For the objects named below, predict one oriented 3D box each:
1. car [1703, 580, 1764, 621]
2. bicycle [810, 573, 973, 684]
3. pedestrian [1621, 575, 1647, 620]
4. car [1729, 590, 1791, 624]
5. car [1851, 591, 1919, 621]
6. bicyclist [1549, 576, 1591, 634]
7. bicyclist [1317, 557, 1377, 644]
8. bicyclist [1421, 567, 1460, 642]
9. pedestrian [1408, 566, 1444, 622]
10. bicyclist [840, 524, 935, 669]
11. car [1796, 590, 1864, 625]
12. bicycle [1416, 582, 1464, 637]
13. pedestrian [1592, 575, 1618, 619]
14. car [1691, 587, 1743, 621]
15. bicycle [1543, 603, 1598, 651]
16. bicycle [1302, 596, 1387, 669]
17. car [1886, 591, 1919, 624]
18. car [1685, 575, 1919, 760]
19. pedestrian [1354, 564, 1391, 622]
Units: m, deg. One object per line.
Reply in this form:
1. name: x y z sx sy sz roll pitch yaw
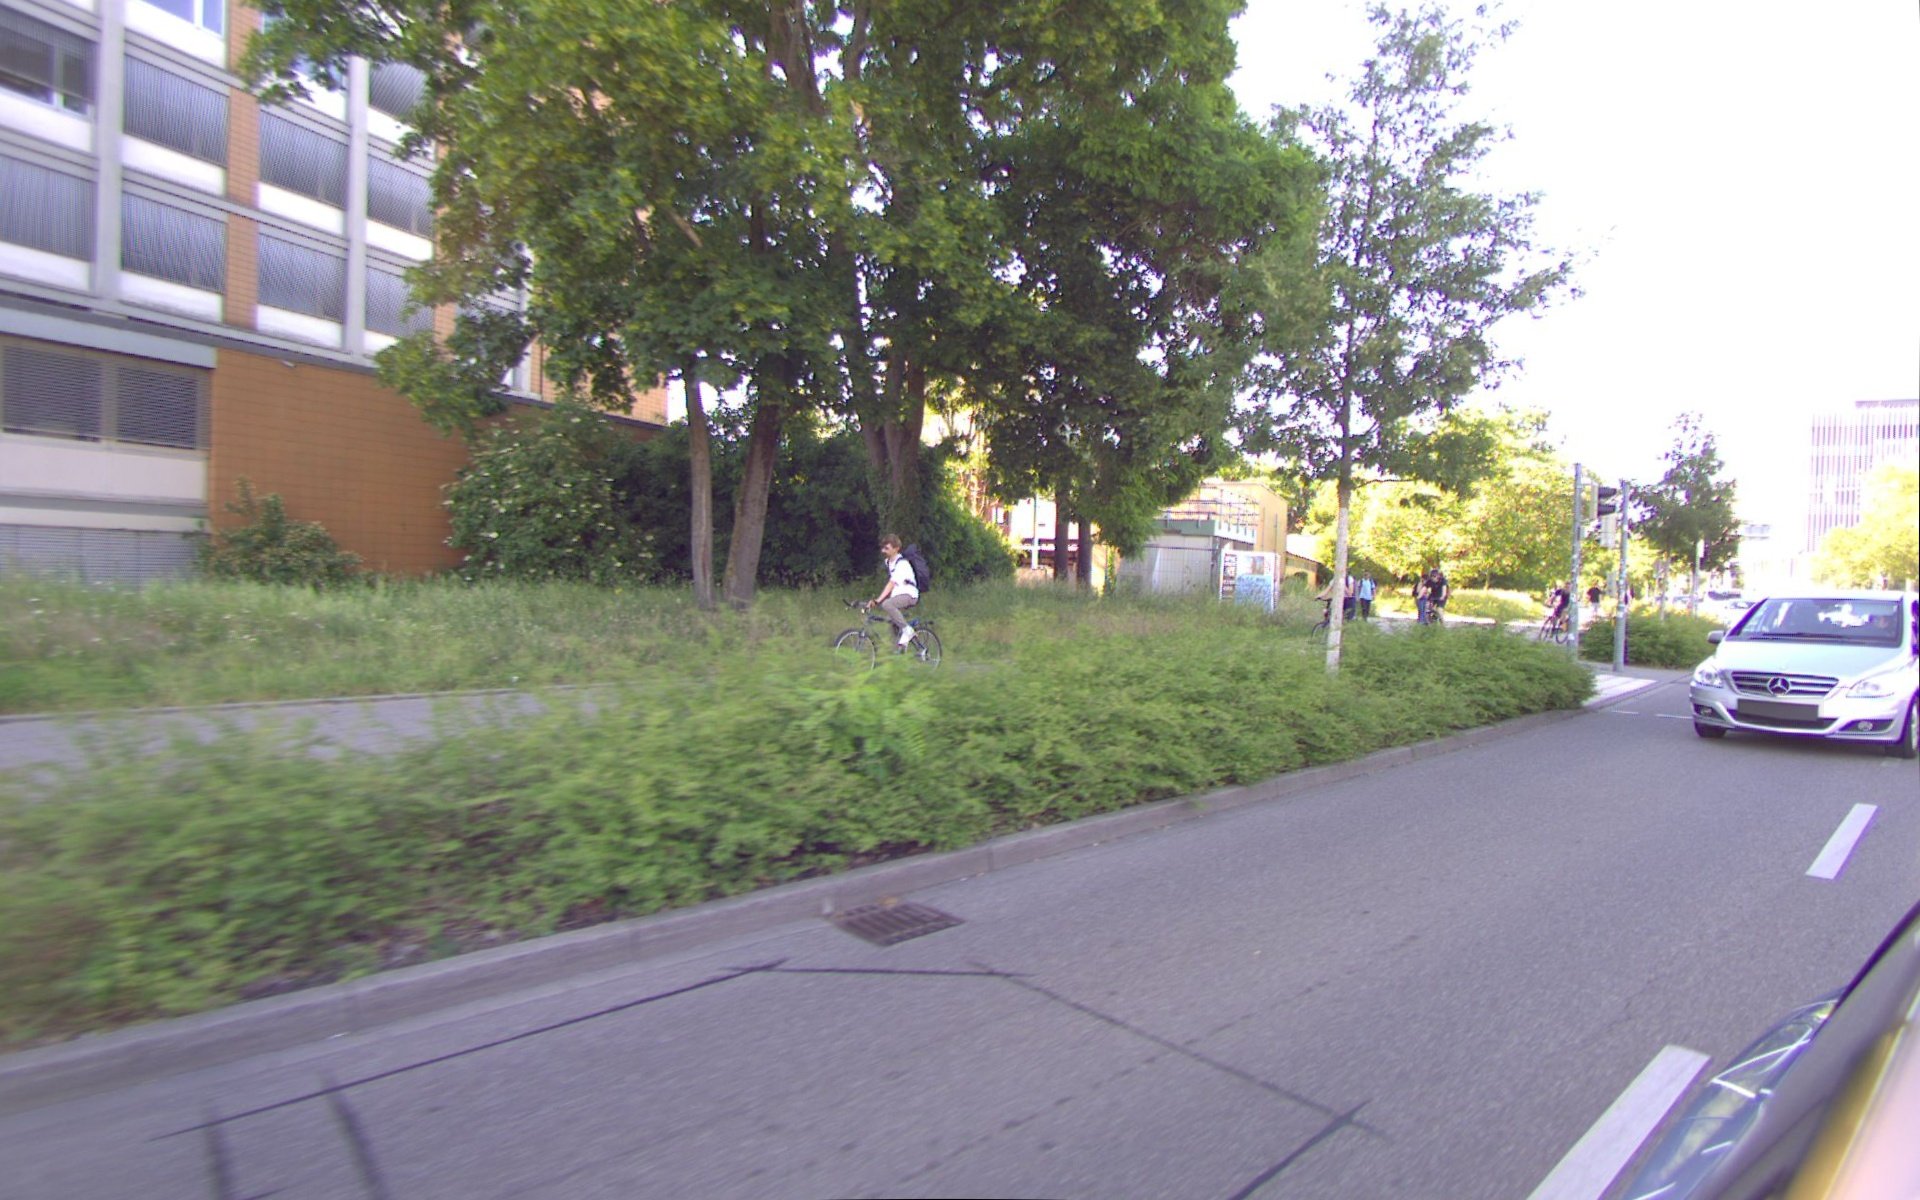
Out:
1. car: 39.554 0.000 51.860 1.924 1.977 4.704 1 0 31
2. bicycle: -0.778 0.304 11.977 1.925 1.179 0.642 0 4 -45
3. pedestrian: 27.914 -0.111 41.910 0.729 1.839 0.724 1 -1 45
4. car: 36.315 0.282 46.033 1.691 1.460 3.956 1 0 31
5. car: 51.590 0.310 56.502 1.968 1.574 4.671 1 0 31
6. bicyclist: 15.751 0.114 26.124 0.936 1.462 0.642 1 0 -40
7. bicyclist: 6.764 0.002 17.686 0.764 1.462 0.642 0 3 -45
8. bicyclist: 11.010 0.092 23.191 0.639 1.666 0.766 2 1 36
9. pedestrian: 14.079 -0.179 30.564 0.664 1.664 0.736 2 -1 -3
10. bicyclist: -0.849 -0.054 11.868 0.819 1.614 0.630 0 4 -45
11. car: 40.224 0.303 46.898 1.988 1.487 3.949 2 2 36
12. bicycle: 11.032 0.208 23.217 0.639 1.179 1.846 2 1 36
13. pedestrian: 27.145 -0.127 42.604 0.729 1.804 0.724 1 -1 45
14. car: 43.248 0.203 57.884 1.924 1.822 4.312 1 0 31
15. bicycle: 15.808 0.674 26.174 1.837 1.180 0.642 0 0 -40
16. bicycle: 6.739 0.534 17.701 1.840 1.179 0.642 0 3 -45
17. car: 47.806 0.344 50.090 1.968 1.574 4.671 1 0 31
18. car: 9.846 0.550 11.078 4.552 1.613 1.772 -1 3 -37
19. pedestrian: 12.312 -0.205 30.227 0.664 1.664 0.737 3 -1 -10
